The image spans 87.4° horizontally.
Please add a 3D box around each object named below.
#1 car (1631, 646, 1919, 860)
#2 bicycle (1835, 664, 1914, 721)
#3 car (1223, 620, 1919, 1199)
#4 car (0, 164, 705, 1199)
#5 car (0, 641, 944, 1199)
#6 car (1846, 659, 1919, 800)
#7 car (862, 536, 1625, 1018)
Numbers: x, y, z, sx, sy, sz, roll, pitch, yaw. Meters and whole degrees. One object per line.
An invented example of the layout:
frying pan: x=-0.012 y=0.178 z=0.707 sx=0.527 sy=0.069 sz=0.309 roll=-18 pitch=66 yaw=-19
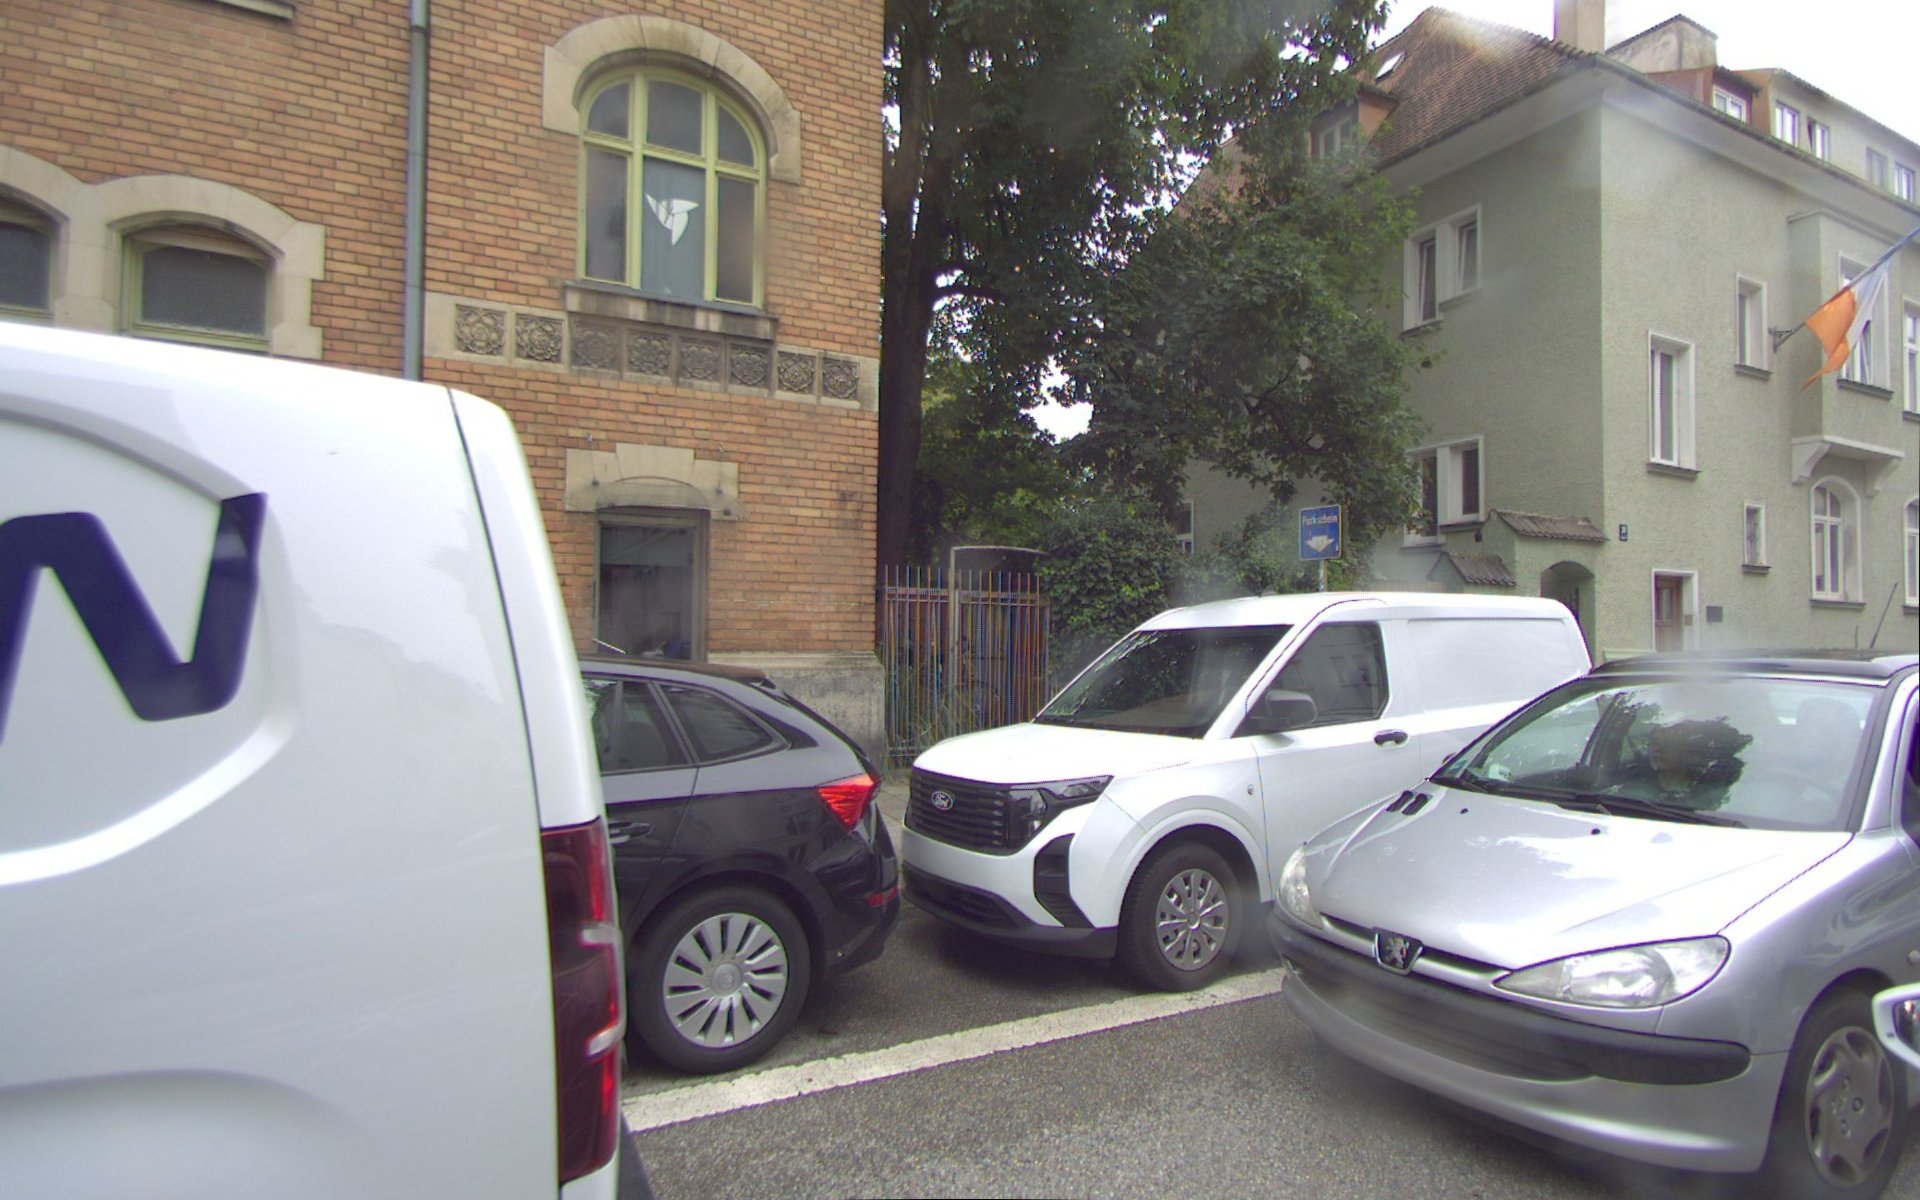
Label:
car: x=7.354 y=1.147 z=8.485 sx=3.274 sy=1.485 sz=1.467 roll=2 pitch=-4 yaw=-30
bicycle: x=16.558 y=1.650 z=18.170 sx=1.907 sy=0.919 sz=0.519 roll=2 pitch=1 yaw=-32
car: x=2.869 y=0.848 z=3.696 sx=3.567 sy=1.429 sz=1.575 roll=2 pitch=-3 yaw=-27
car: x=-2.690 y=0.526 z=0.914 sx=4.511 sy=1.827 sz=1.766 roll=1 pitch=-2 yaw=-26
car: x=-2.249 y=0.898 z=3.589 sx=4.093 sy=1.461 sz=1.684 roll=1 pitch=-4 yaw=-28
car: x=11.784 y=1.376 z=10.969 sx=4.282 sy=1.430 sz=1.853 roll=3 pitch=-5 yaw=-30
car: x=1.663 y=0.762 z=5.589 sx=4.095 sy=1.827 sz=1.683 roll=2 pitch=-4 yaw=-29
